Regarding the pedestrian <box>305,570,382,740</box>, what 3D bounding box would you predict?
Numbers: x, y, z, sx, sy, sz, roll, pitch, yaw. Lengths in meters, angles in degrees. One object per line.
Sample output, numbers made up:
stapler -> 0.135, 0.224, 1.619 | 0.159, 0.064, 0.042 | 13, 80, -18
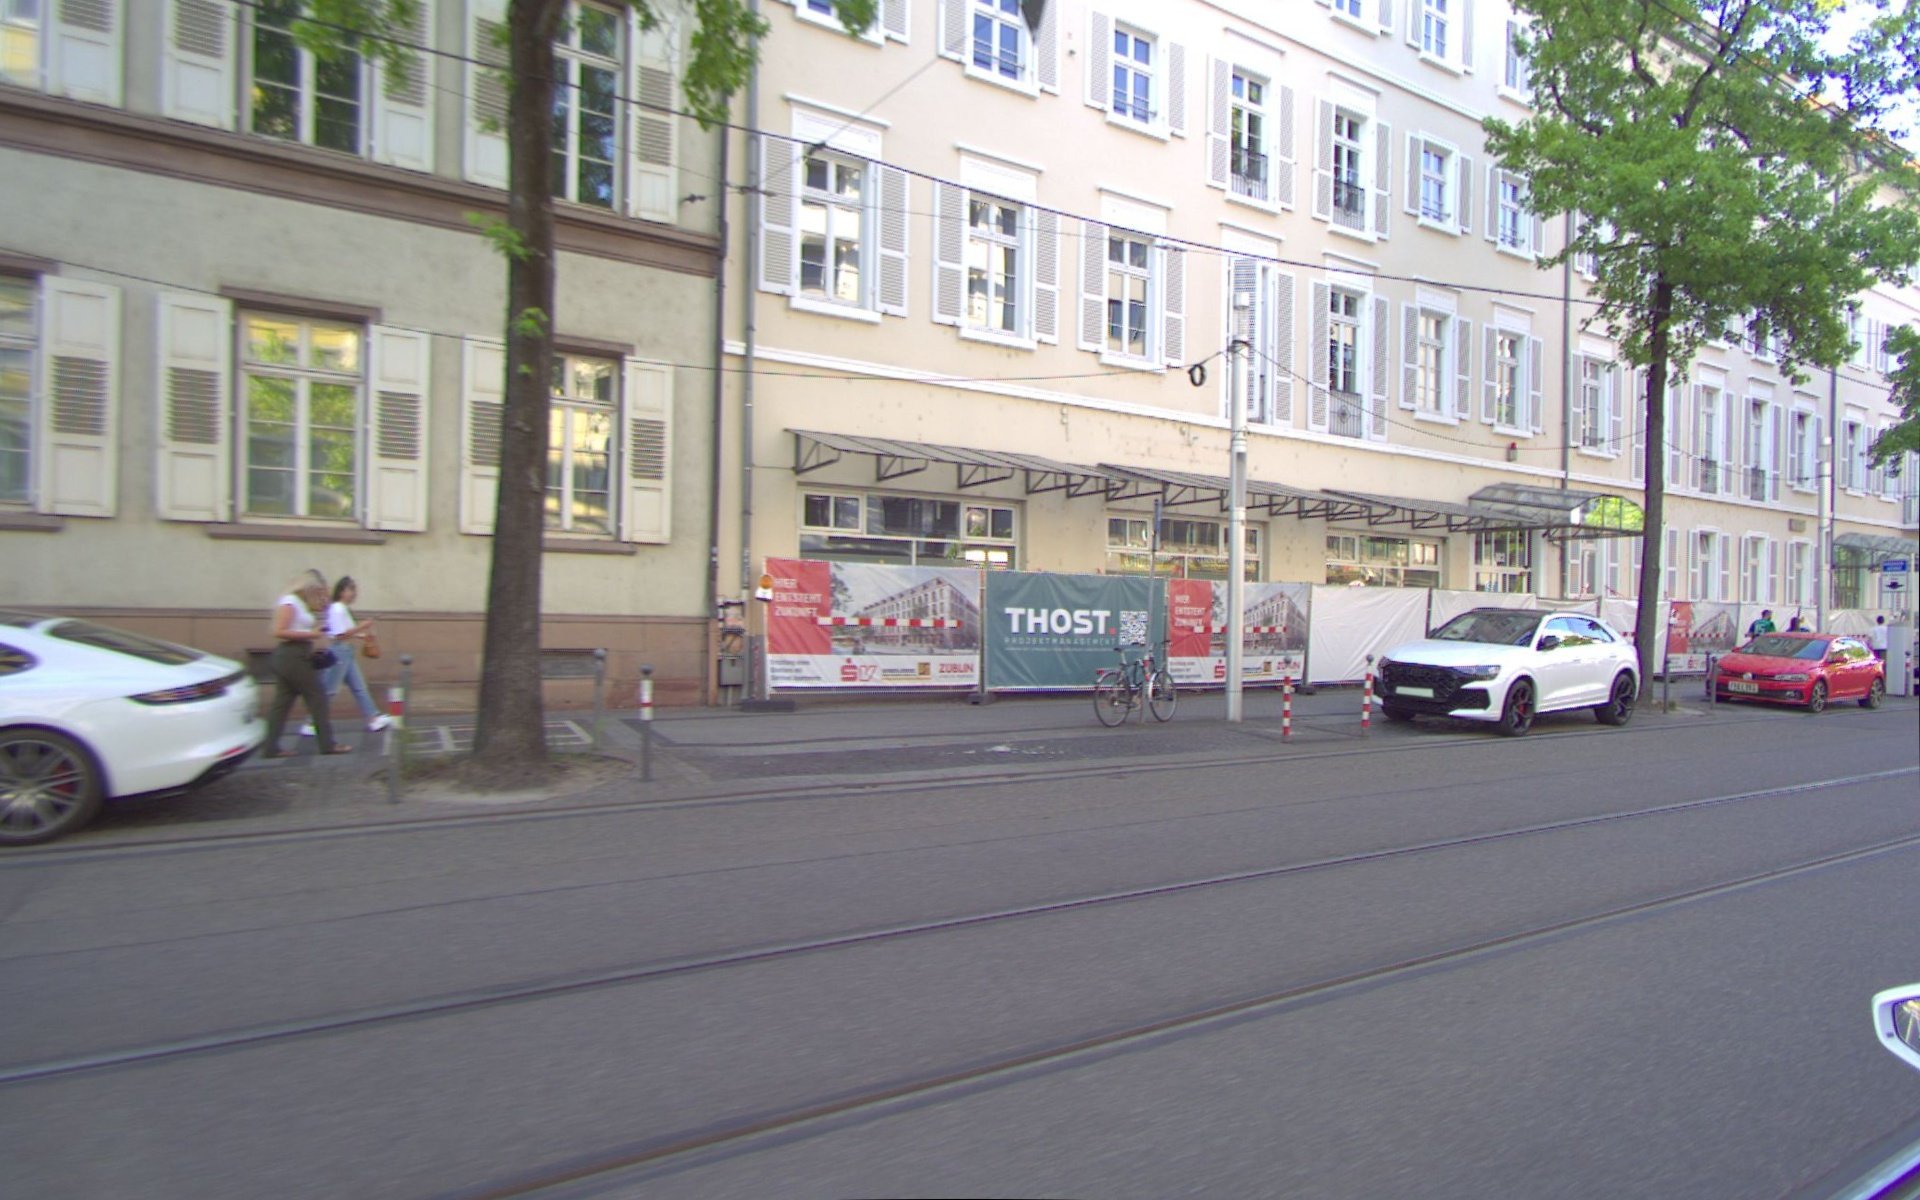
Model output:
pedestrian -> -6.433, 0.553, 10.511 | 0.640, 1.702, 0.671 | 1, 0, -30

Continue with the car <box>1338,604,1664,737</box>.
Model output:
car -> 8.198, 0.978, 15.109 | 4.952, 1.714, 1.953 | 2, 0, -29

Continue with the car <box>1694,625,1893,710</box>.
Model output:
car -> 16.805, 1.308, 20.225 | 4.182, 1.519, 1.681 | 2, 0, -29

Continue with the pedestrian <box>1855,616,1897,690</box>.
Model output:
pedestrian -> 25.641, 1.465, 28.121 | 0.668, 2.031, 0.703 | 1, 0, -33

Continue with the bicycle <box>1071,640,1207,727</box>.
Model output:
bicycle -> 2.411, 1.081, 13.404 | 1.990, 1.064, 0.589 | 1, -1, -37

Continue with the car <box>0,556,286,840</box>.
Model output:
car -> -7.284, 0.540, 6.332 | 4.850, 1.662, 1.937 | 2, 3, -29

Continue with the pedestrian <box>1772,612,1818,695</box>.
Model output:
pedestrian -> 20.720, 1.311, 24.927 | 0.668, 2.031, 0.703 | 1, 0, -33

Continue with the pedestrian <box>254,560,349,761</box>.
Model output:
pedestrian -> -5.968, 0.530, 9.141 | 0.648, 1.743, 0.683 | 1, 0, -30

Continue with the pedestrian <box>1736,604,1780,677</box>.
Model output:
pedestrian -> 20.444, 1.026, 25.732 | 0.669, 1.830, 0.703 | 1, 0, -35

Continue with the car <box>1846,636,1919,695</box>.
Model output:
car -> 23.883, 1.589, 24.729 | 3.953, 1.309, 1.984 | 1, 0, -30
